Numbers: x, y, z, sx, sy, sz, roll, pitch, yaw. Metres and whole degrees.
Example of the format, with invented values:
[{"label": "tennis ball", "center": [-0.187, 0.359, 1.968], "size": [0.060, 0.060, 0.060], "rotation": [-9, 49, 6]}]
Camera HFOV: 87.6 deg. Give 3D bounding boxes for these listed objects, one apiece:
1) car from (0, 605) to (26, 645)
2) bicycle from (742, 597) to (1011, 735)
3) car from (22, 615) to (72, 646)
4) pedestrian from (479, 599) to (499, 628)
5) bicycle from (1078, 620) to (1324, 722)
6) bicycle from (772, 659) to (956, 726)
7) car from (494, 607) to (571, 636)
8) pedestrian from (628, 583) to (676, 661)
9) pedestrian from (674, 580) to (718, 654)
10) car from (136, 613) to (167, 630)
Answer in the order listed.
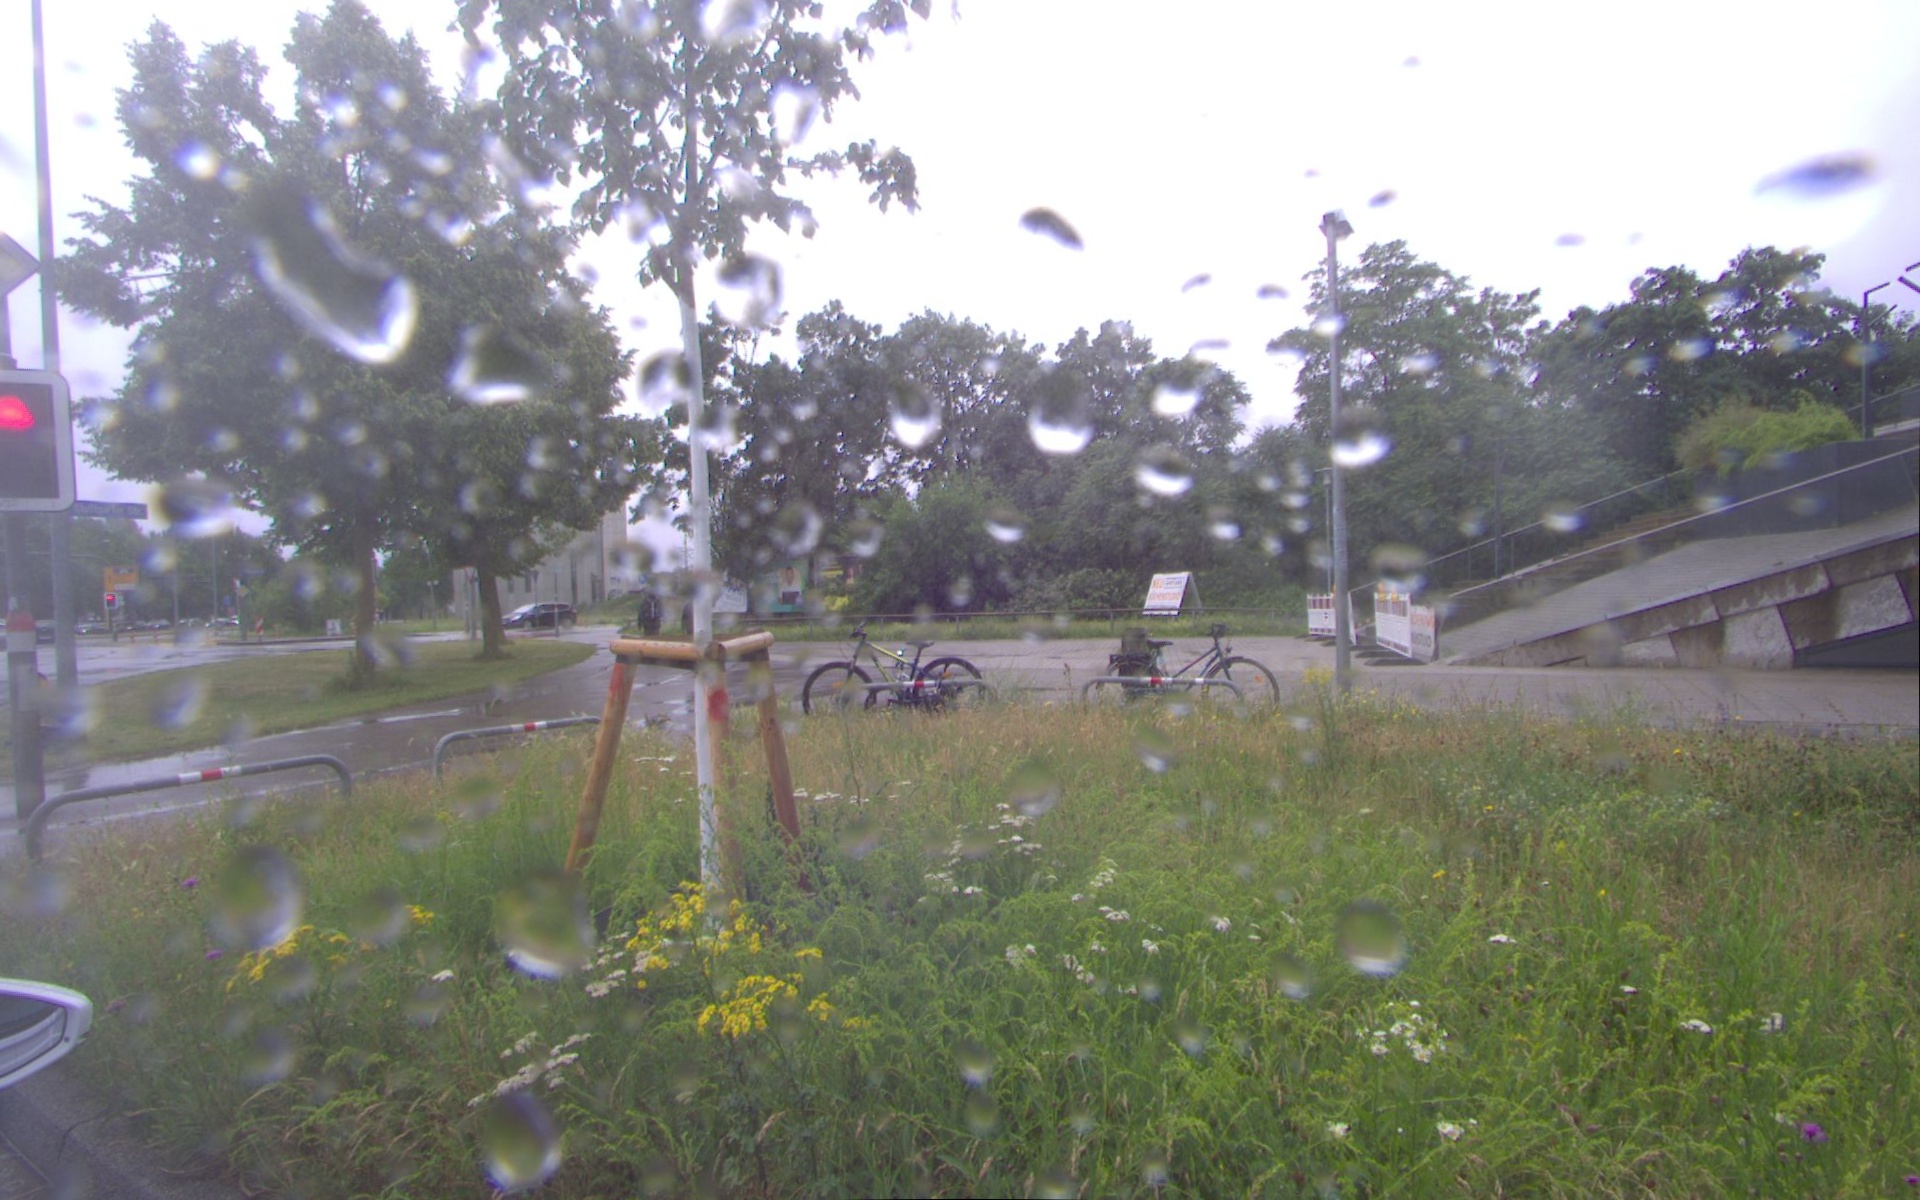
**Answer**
[{"label": "car", "center": [-41.969, 1.064, 41.861], "size": [3.877, 1.668, 1.684], "rotation": [0, -2, -16]}, {"label": "bicycle", "center": [-0.780, 0.588, 9.529], "size": [2.480, 1.205, 0.552], "rotation": [-1, 1, -17]}, {"label": "car", "center": [-47.999, 1.570, 52.642], "size": [3.215, 1.512, 1.679], "rotation": [0, 1, 43]}, {"label": "pedestrian", "center": [-29.931, 0.868, 63.578], "size": [0.705, 1.794, 0.948], "rotation": [-1, -2, 42]}, {"label": "bicycle", "center": [2.213, 0.617, 9.280], "size": [2.129, 0.858, 0.634], "rotation": [-1, 0, 26]}, {"label": "bicycle", "center": [-0.939, 0.897, 9.866], "size": [1.771, 0.566, 0.320], "rotation": [-1, 1, -17]}, {"label": "car", "center": [-25.251, 1.316, 59.334], "size": [1.762, 1.668, 3.985], "rotation": [-1, -2, 28]}, {"label": "pedestrian", "center": [-7.304, 0.524, 23.797], "size": [0.906, 1.807, 0.808], "rotation": [0, -1, -3]}, {"label": "pedestrian", "center": [-6.615, 0.432, 25.135], "size": [0.906, 1.807, 0.808], "rotation": [0, -1, -3]}, {"label": "car", "center": [-95.177, 2.550, 117.891], "size": [1.763, 2.039, 3.665], "rotation": [0, -2, -20]}]
